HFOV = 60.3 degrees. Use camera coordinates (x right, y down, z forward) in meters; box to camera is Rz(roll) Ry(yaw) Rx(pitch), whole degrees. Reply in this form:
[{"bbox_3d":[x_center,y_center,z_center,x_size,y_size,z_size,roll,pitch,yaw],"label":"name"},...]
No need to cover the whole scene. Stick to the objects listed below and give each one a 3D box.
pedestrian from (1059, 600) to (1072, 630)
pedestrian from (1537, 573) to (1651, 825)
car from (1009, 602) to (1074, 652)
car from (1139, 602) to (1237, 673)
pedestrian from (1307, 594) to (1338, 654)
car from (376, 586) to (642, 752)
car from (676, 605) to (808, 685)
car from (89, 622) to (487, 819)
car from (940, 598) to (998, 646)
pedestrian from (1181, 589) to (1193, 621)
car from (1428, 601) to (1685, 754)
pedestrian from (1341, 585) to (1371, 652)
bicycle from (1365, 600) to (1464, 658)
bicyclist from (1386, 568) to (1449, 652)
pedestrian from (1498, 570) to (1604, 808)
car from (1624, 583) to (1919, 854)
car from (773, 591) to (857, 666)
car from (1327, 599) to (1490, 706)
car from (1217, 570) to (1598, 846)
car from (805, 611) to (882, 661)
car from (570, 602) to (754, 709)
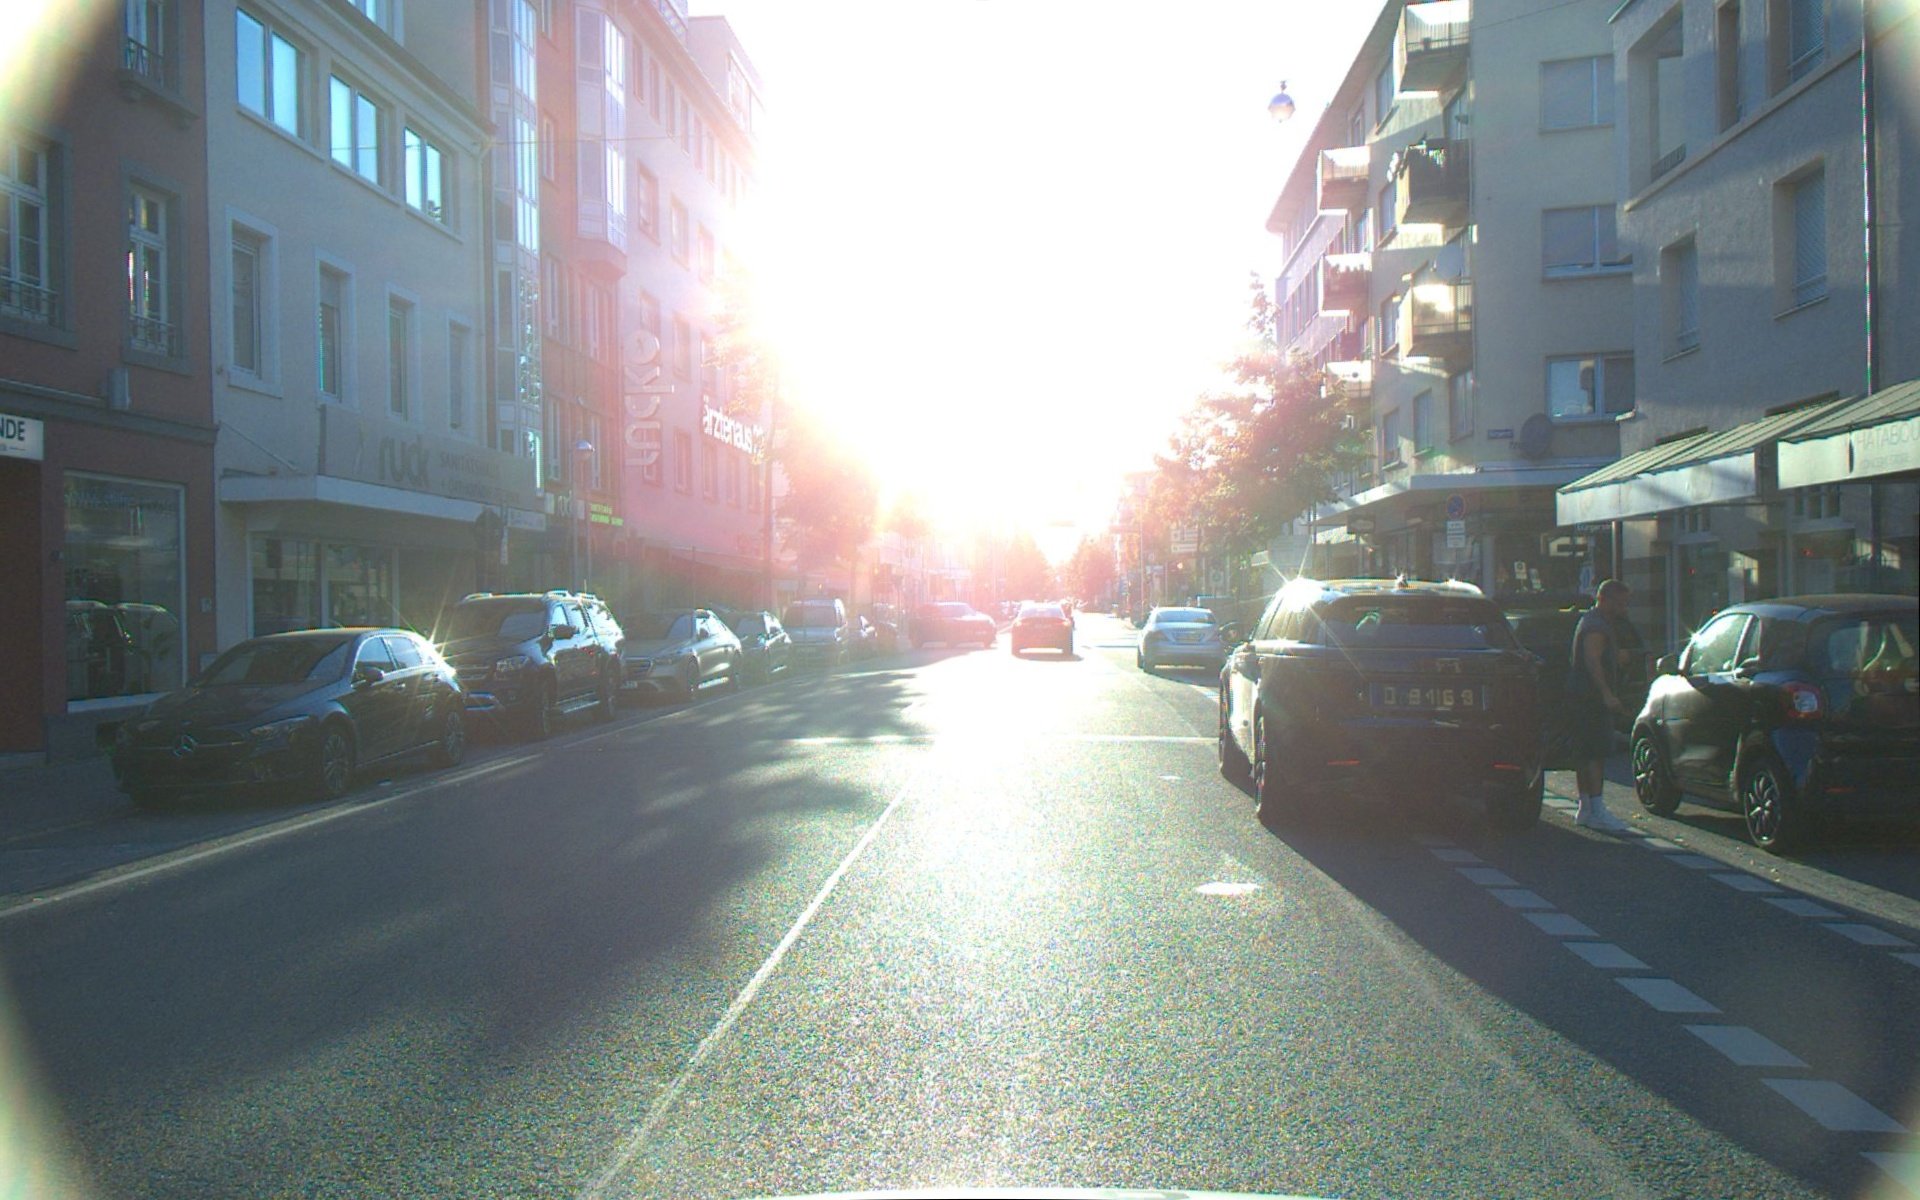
[{"bbox_3d":[5.917,0.833,92.778,0.565,1.673,0.525,-1,1,-17],"label":"pedestrian"},{"bbox_3d":[4.400,0.668,11.501,0.435,1.694,0.562,-2,0,-21],"label":"pedestrian"},{"bbox_3d":[2.510,0.772,49.900,1.844,1.440,4.327,0,0,4],"label":"car"},{"bbox_3d":[5.054,0.795,37.191,1.881,1.440,4.550,1,0,4],"label":"car"},{"bbox_3d":[9.790,0.649,44.689,0.673,1.586,0.863,-1,0,3],"label":"pedestrian"},{"bbox_3d":[-5.752,0.796,21.864,1.789,1.842,5.350,-3,0,2],"label":"car"},{"bbox_3d":[-4.467,0.889,34.619,1.789,1.464,4.555,-3,0,4],"label":"car"},{"bbox_3d":[-6.059,1.006,15.536,1.677,1.465,4.312,-3,0,4],"label":"car"},{"bbox_3d":[0.370,0.784,61.869,1.881,1.630,4.328,-1,1,4],"label":"car"},{"bbox_3d":[12.508,0.281,91.039,0.487,1.745,0.460,-1,1,-16],"label":"pedestrian"},{"bbox_3d":[6.355,0.758,18.029,1.599,1.449,3.759,-2,0,3],"label":"car"},{"bbox_3d":[10.654,0.493,44.509,0.673,1.752,0.717,-2,-1,10],"label":"pedestrian"},{"bbox_3d":[9.549,0.608,34.784,1.897,1.175,0.648,-1,0,42],"label":"bicycle"},{"bbox_3d":[9.611,0.206,34.721,1.076,1.732,0.649,-1,-1,42],"label":"bicyclist"},{"bbox_3d":[4.356,0.640,12.204,0.435,1.694,0.562,-2,0,-21],"label":"pedestrian"},{"bbox_3d":[5.837,0.702,11.221,1.599,1.580,2.695,-2,0,1],"label":"car"},{"bbox_3d":[-3.785,0.731,43.909,1.795,1.887,4.124,-1,0,1],"label":"car"},{"bbox_3d":[6.837,0.752,25.565,1.667,1.461,3.934,-2,0,4],"label":"car"},{"bbox_3d":[3.148,0.666,12.650,1.953,1.684,4.676,1,0,4],"label":"car"},{"bbox_3d":[-3.464,1.049,49.787,1.795,1.351,4.125,-2,0,3],"label":"car"},{"bbox_3d":[-5.002,0.873,28.572,1.789,1.583,5.139,-3,0,5],"label":"car"}]
